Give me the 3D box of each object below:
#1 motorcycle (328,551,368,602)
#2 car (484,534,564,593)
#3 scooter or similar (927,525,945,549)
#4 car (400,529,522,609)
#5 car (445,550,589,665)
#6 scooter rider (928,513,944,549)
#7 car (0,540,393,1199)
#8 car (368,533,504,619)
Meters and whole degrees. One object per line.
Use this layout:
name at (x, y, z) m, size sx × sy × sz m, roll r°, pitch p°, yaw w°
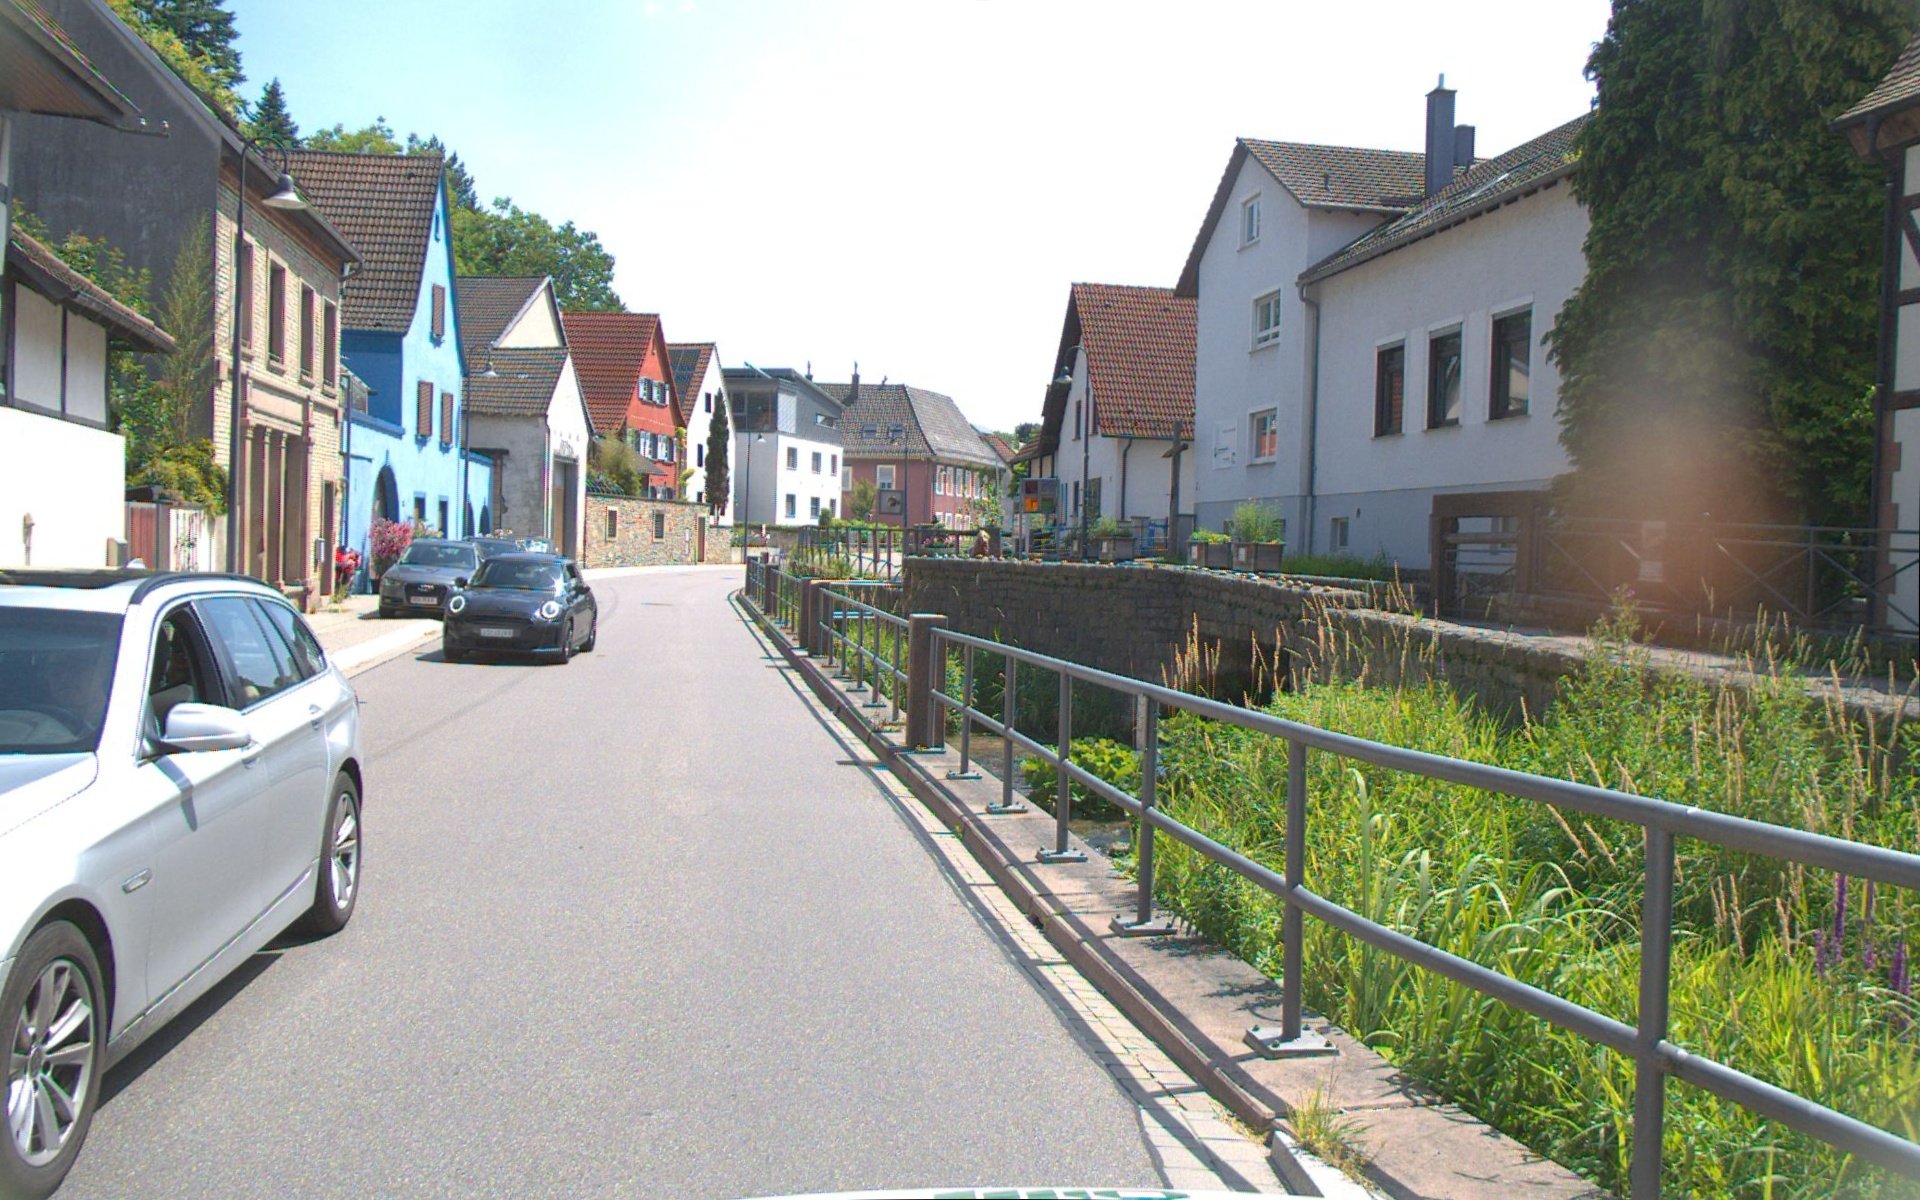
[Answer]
motorcycle at (-12.852, -0.506, 34.763) m, size 0.410 × 1.018 × 1.853 m, roll 6°, pitch 0°, yaw -11°
car at (-12.384, -1.066, 47.155) m, size 1.684 × 1.556 × 3.851 m, roll 1°, pitch 2°, yaw -7°
scooter or similar at (-1.198, -3.150, 82.676) m, size 0.629 × 1.162 × 1.808 m, roll 0°, pitch 2°, yaw -9°
car at (-11.064, -0.736, 36.974) m, size 1.850 × 1.489 × 4.661 m, roll 5°, pitch 2°, yaw -9°
car at (-6.370, 0.060, 24.159) m, size 1.668 × 1.491 × 4.424 m, roll 1°, pitch 1°, yaw -11°
scooter rider at (-1.197, -3.458, 82.726) m, size 0.629 × 1.761 × 0.553 m, roll 2°, pitch 1°, yaw -10°
car at (-3.185, 0.593, 5.152) m, size 1.860 × 1.526 × 4.605 m, roll 0°, pitch 1°, yaw -8°
car at (-10.048, -0.485, 32.024) m, size 1.922 × 1.491 × 4.534 m, roll 2°, pitch 1°, yaw -11°
